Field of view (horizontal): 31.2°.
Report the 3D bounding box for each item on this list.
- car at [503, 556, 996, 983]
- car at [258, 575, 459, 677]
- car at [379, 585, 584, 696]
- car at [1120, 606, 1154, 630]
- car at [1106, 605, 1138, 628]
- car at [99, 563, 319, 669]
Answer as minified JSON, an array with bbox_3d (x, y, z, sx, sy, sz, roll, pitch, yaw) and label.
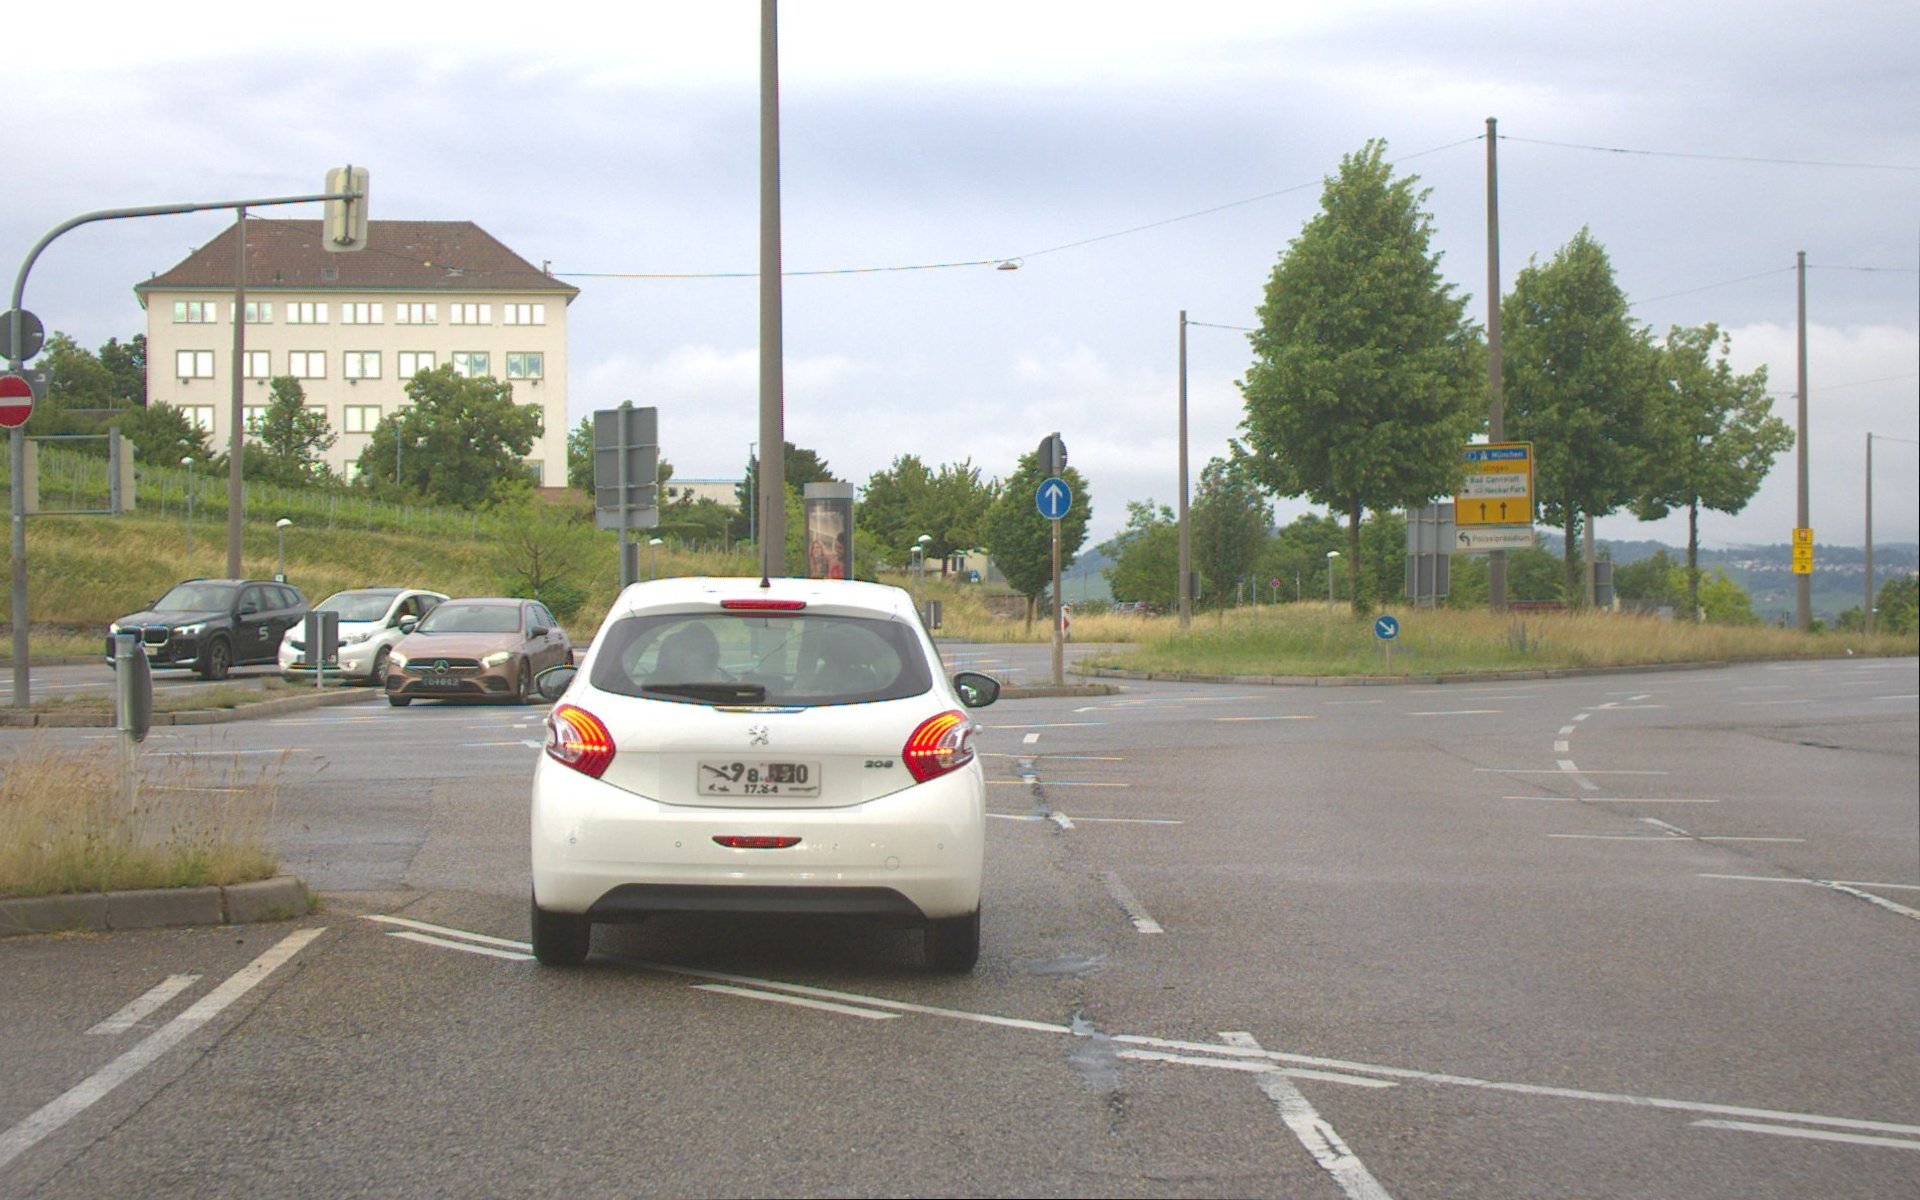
[{"bbox_3d":[-0.759,0.599,14.135,1.718,1.484,4.000,1,0,0],"label":"car"},{"bbox_3d":[-9.493,0.408,54.583,1.752,1.507,3.998,2,0,12],"label":"car"},{"bbox_3d":[-6.385,0.534,46.334,1.776,1.420,4.373,0,0,5],"label":"car"},{"bbox_3d":[11.379,1.139,220.770,1.841,1.481,4.000,0,0,-2],"label":"car"},{"bbox_3d":[10.778,1.124,229.161,1.841,1.481,4.000,0,0,-2],"label":"car"},{"bbox_3d":[-12.367,0.261,56.910,1.777,1.630,4.506,2,0,12],"label":"car"}]
